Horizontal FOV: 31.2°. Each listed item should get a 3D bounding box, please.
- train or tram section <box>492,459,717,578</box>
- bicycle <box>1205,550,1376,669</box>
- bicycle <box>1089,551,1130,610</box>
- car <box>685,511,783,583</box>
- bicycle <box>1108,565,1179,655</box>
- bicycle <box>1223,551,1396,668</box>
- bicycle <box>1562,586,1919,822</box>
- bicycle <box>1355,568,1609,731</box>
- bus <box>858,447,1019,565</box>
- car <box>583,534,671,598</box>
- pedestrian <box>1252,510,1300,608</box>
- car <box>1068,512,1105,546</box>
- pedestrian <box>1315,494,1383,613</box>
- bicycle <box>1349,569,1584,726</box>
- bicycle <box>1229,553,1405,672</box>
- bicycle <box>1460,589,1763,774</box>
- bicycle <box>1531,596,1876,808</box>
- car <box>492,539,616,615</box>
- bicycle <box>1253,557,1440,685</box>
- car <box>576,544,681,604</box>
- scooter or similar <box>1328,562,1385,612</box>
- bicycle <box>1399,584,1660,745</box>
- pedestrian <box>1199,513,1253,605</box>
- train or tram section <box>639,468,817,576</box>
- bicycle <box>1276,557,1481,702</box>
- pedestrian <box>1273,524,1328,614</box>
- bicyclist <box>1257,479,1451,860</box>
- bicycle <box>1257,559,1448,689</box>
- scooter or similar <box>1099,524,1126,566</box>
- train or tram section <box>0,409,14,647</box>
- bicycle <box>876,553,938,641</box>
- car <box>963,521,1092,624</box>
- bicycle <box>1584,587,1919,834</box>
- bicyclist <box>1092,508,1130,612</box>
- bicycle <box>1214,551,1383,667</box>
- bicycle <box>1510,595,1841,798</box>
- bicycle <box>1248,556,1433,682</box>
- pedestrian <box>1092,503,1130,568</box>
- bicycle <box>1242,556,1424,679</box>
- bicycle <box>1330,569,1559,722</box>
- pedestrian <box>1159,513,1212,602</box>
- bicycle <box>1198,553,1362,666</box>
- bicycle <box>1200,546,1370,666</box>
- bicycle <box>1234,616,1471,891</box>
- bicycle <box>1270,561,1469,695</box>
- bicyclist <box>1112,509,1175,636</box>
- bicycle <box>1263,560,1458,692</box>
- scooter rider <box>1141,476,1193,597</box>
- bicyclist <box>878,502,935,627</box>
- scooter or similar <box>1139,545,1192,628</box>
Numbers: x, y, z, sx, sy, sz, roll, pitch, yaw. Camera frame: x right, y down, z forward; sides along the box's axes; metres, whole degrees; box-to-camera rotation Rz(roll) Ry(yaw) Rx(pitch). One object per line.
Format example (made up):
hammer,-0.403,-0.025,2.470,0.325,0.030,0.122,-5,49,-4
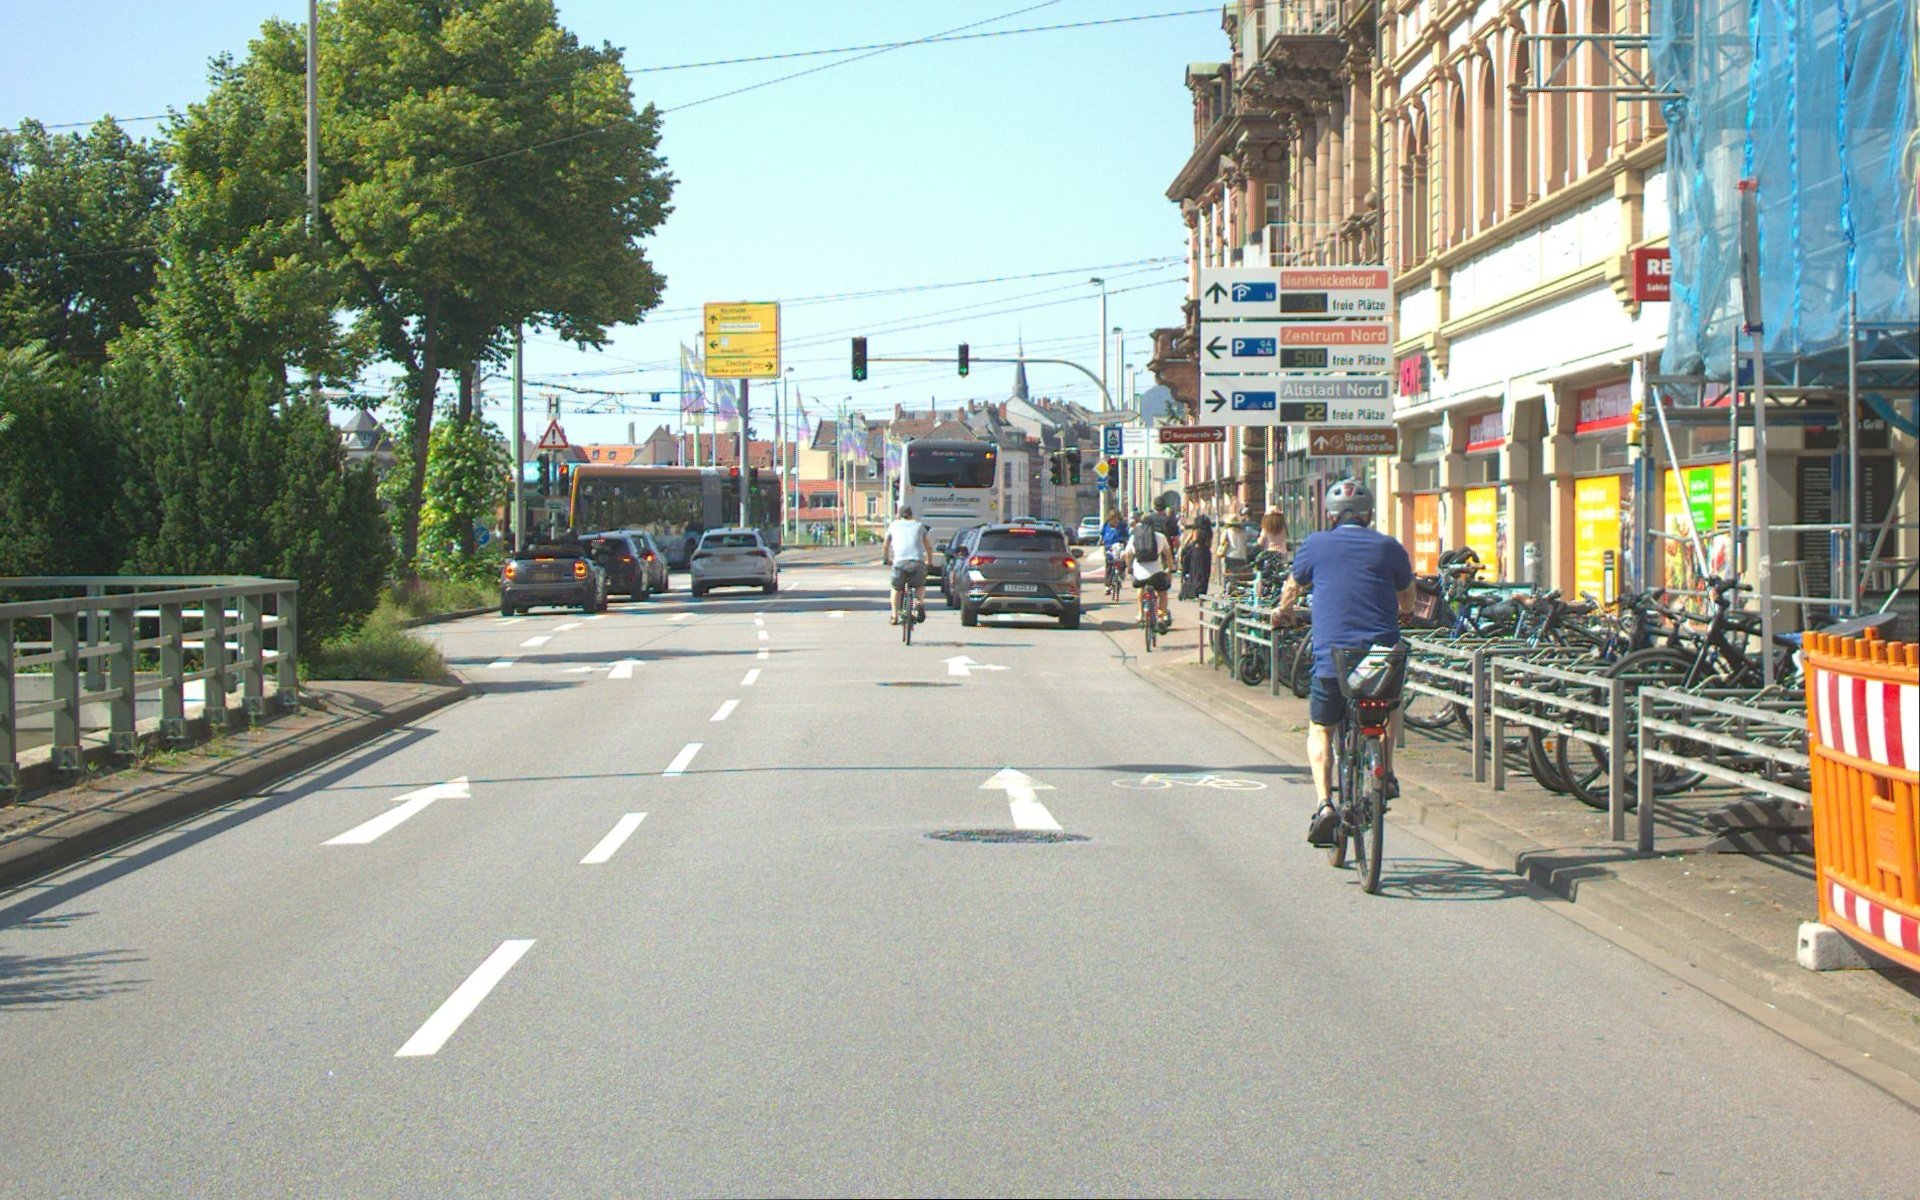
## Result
train or tram section,-11.176,-2.541,109.502,2.825,3.569,10.021,1,1,21
bicycle,3.455,0.096,36.000,1.693,1.174,0.609,-2,2,0
bicycle,2.852,-0.385,65.669,0.734,1.089,1.898,1,1,2
car,-4.927,-1.169,75.303,1.858,1.502,4.000,1,1,0
bicycle,2.316,0.112,43.587,0.734,1.089,1.898,1,1,-1
bicycle,3.540,0.095,34.864,1.693,1.174,0.470,0,1,-1
bicycle,3.987,0.520,17.601,1.693,1.174,0.608,0,1,0
bicycle,3.839,0.356,25.337,1.771,1.174,0.608,0,1,0
bus,-0.645,-2.320,86.459,2.968,2.767,8.644,1,1,-7
car,-7.018,-0.730,72.718,1.451,1.296,4.000,1,1,0
pedestrian,5.312,-0.692,57.827,0.654,1.615,0.815,-2,2,-2
car,7.228,-4.080,197.305,1.993,1.871,4.000,-2,1,1
pedestrian,5.624,-0.675,49.742,0.755,1.650,0.837,-4,0,-2
bicycle,3.846,0.354,26.169,1.693,1.174,0.608,0,1,0
bicycle,3.556,0.118,34.300,1.693,1.174,0.460,0,1,0
bicycle,4.002,0.494,21.191,1.739,1.105,0.608,0,1,0
bicycle,3.942,0.532,18.294,1.693,1.093,0.608,0,1,0
car,-7.481,-0.449,63.665,1.815,1.327,4.000,1,1,0
bicycle,3.598,0.191,32.062,1.693,1.174,0.463,0,1,0
car,-7.703,-0.630,80.191,2.037,1.327,4.000,1,1,0
scooter or similar,5.668,-0.189,49.166,0.691,0.648,0.565,-5,1,-2
bicycle,3.910,0.437,23.670,1.693,1.083,0.608,0,1,0
pedestrian,4.788,-0.746,61.916,0.862,1.634,0.876,-1,1,-2
train or tram section,-7.882,-2.637,118.084,2.825,3.569,8.217,1,1,21
bicycle,3.616,0.250,29.784,1.693,1.236,0.608,0,1,0
pedestrian,6.240,-0.569,62.984,0.862,1.634,0.876,1,1,-2
bicyclist,1.717,0.289,15.087,0.688,1.610,0.918,1,1,-2
bicycle,3.599,0.218,31.554,1.693,1.174,0.451,0,1,0
scooter or similar,3.861,-1.386,86.918,0.600,1.044,0.800,1,1,-3
train or tram section,-15.643,-1.054,48.827,2.613,3.569,6.899,1,1,-1
bicycle,-0.693,-0.045,44.331,0.734,1.089,1.898,1,1,-2
car,0.991,-0.439,52.360,1.873,1.487,4.000,1,1,0
bicycle,3.967,0.531,16.862,1.693,1.174,0.608,0,1,0
bicyclist,2.879,-0.771,65.619,0.688,1.955,0.778,1,1,2
bicycle,3.480,0.088,35.400,1.693,1.174,0.470,0,1,-1
bicycle,3.948,0.525,19.038,1.693,1.093,0.608,0,1,0
bicycle,3.596,0.176,32.574,1.693,1.174,0.457,0,1,0
pedestrian,3.849,-1.650,87.582,0.862,1.634,0.876,1,1,-2
bicycle,3.593,0.163,33.154,1.693,1.174,0.514,0,1,0
bicycle,3.779,0.352,26.894,1.693,1.174,0.608,0,1,0
pedestrian,4.166,-0.786,63.597,0.862,1.634,0.876,-1,1,-2
bicycle,3.464,0.098,37.287,1.693,1.174,0.609,-1,2,0
bicycle,3.461,0.058,36.654,1.693,1.174,0.609,-3,2,0
bicycle,1.706,0.642,15.226,0.734,1.089,1.911,1,1,-2
bicycle,3.622,0.244,30.448,1.693,1.174,0.497,0,1,0
bicyclist,2.320,-0.352,43.605,0.688,1.571,1.049,1,1,-1
bicycle,3.605,0.228,30.997,1.693,1.174,0.491,0,1,0
scooter rider,2.989,-0.921,49.660,0.688,1.723,0.778,1,1,2
bicyclist,-0.694,-0.460,44.236,0.688,1.571,1.049,1,1,-2
scooter or similar,2.960,-0.206,49.634,0.688,1.163,1.464,1,1,2
